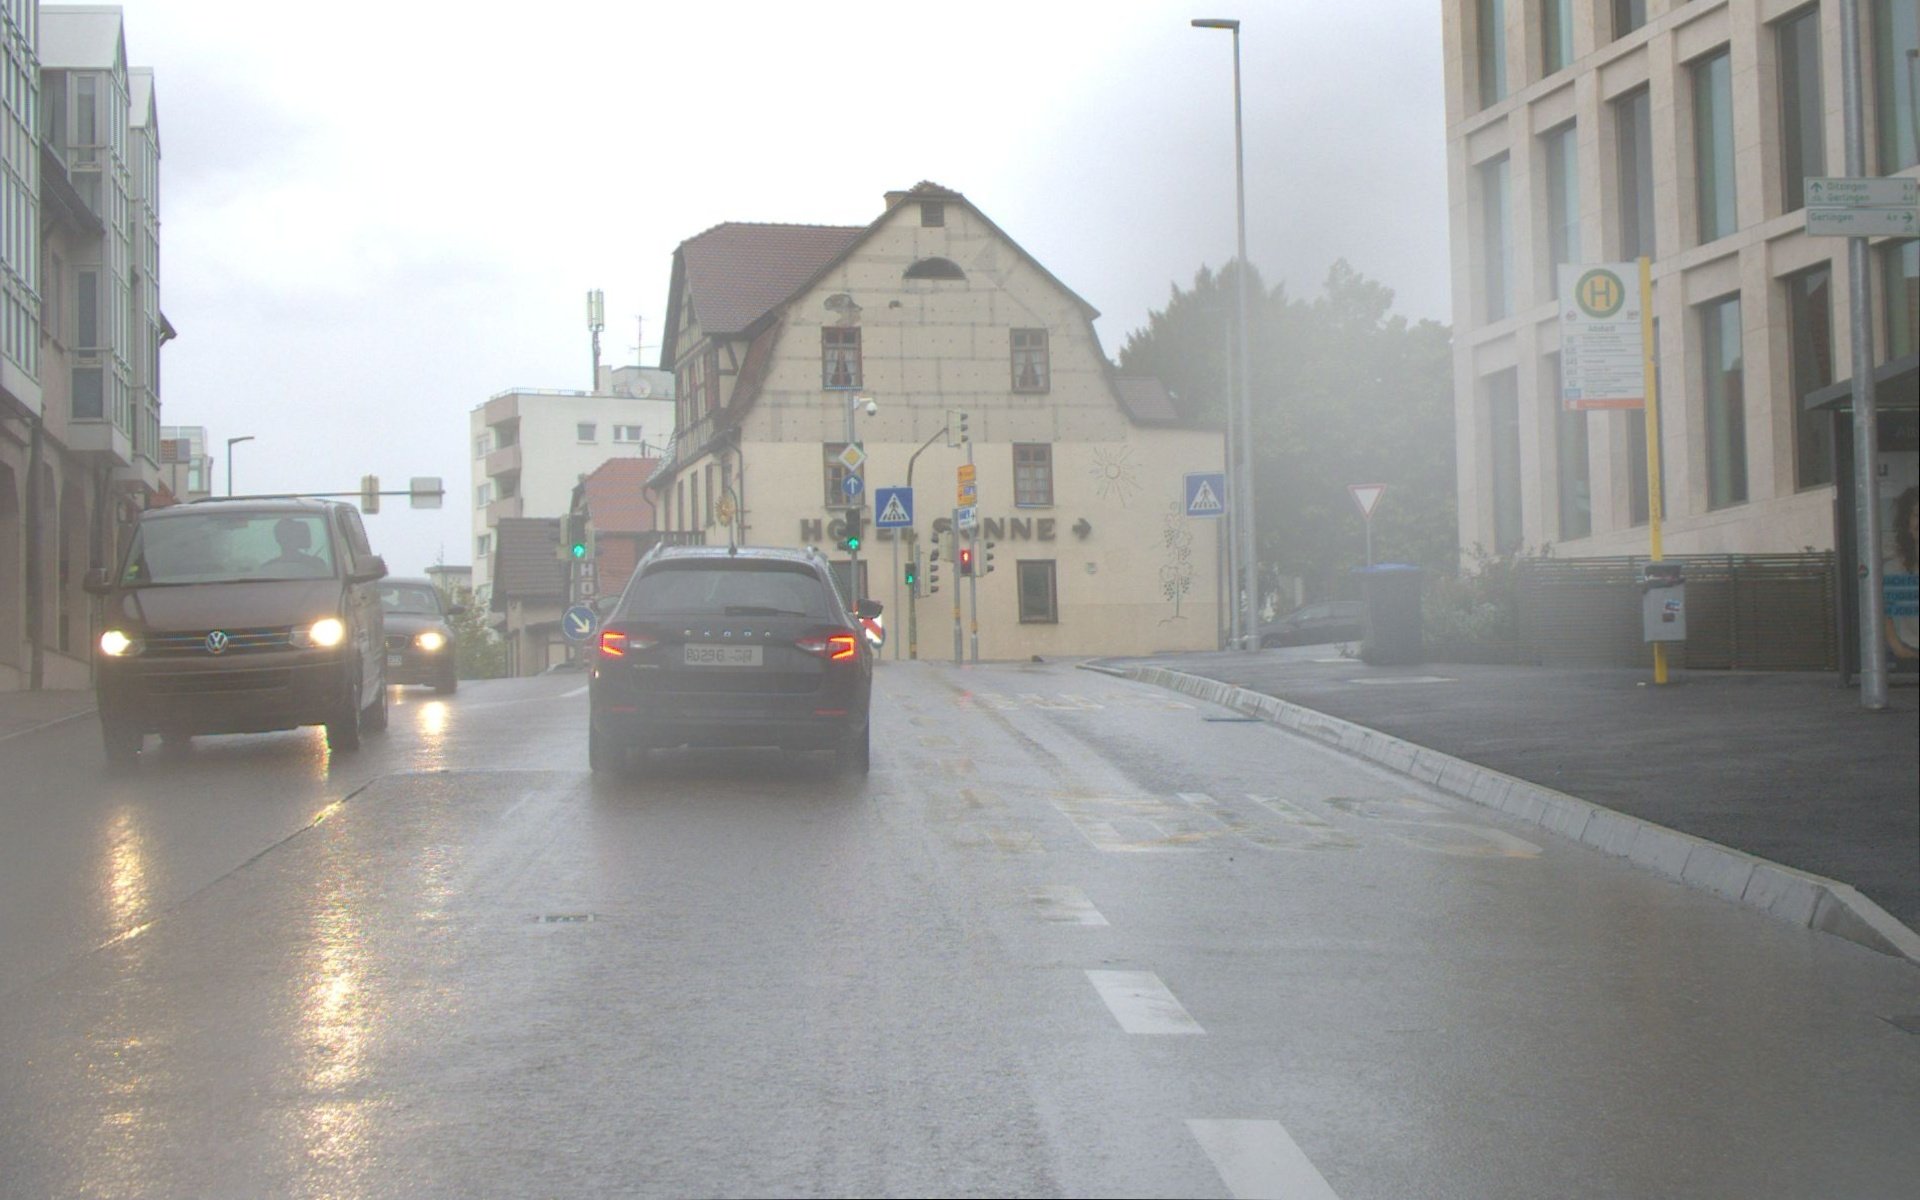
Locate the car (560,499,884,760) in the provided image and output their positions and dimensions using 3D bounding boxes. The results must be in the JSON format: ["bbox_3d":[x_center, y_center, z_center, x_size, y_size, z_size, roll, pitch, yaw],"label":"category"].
[{"bbox_3d":[-1.584,0.146,23.038,1.944,1.561,4.418,-1,1,-4],"label":"car"}]

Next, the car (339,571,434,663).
[{"bbox_3d":[-10.115,0.275,60.791,1.559,1.530,3.450,-2,1,-9],"label":"car"}]

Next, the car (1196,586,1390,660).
[{"bbox_3d":[8.187,0.569,84.644,4.300,1.500,1.778,-3,-4,-17],"label":"car"}]

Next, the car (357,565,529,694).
[{"bbox_3d":[-6.130,0.318,41.125,1.687,1.439,3.910,-1,1,-4],"label":"car"}]

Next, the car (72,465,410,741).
[{"bbox_3d":[-5.524,-0.017,27.030,1.931,1.901,5.044,-2,1,-5],"label":"car"}]

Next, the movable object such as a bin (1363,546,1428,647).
[{"bbox_3d":[4.655,-0.045,36.770,0.595,1.058,0.579,-1,0,-2],"label":"movable object such as a bin"}]
